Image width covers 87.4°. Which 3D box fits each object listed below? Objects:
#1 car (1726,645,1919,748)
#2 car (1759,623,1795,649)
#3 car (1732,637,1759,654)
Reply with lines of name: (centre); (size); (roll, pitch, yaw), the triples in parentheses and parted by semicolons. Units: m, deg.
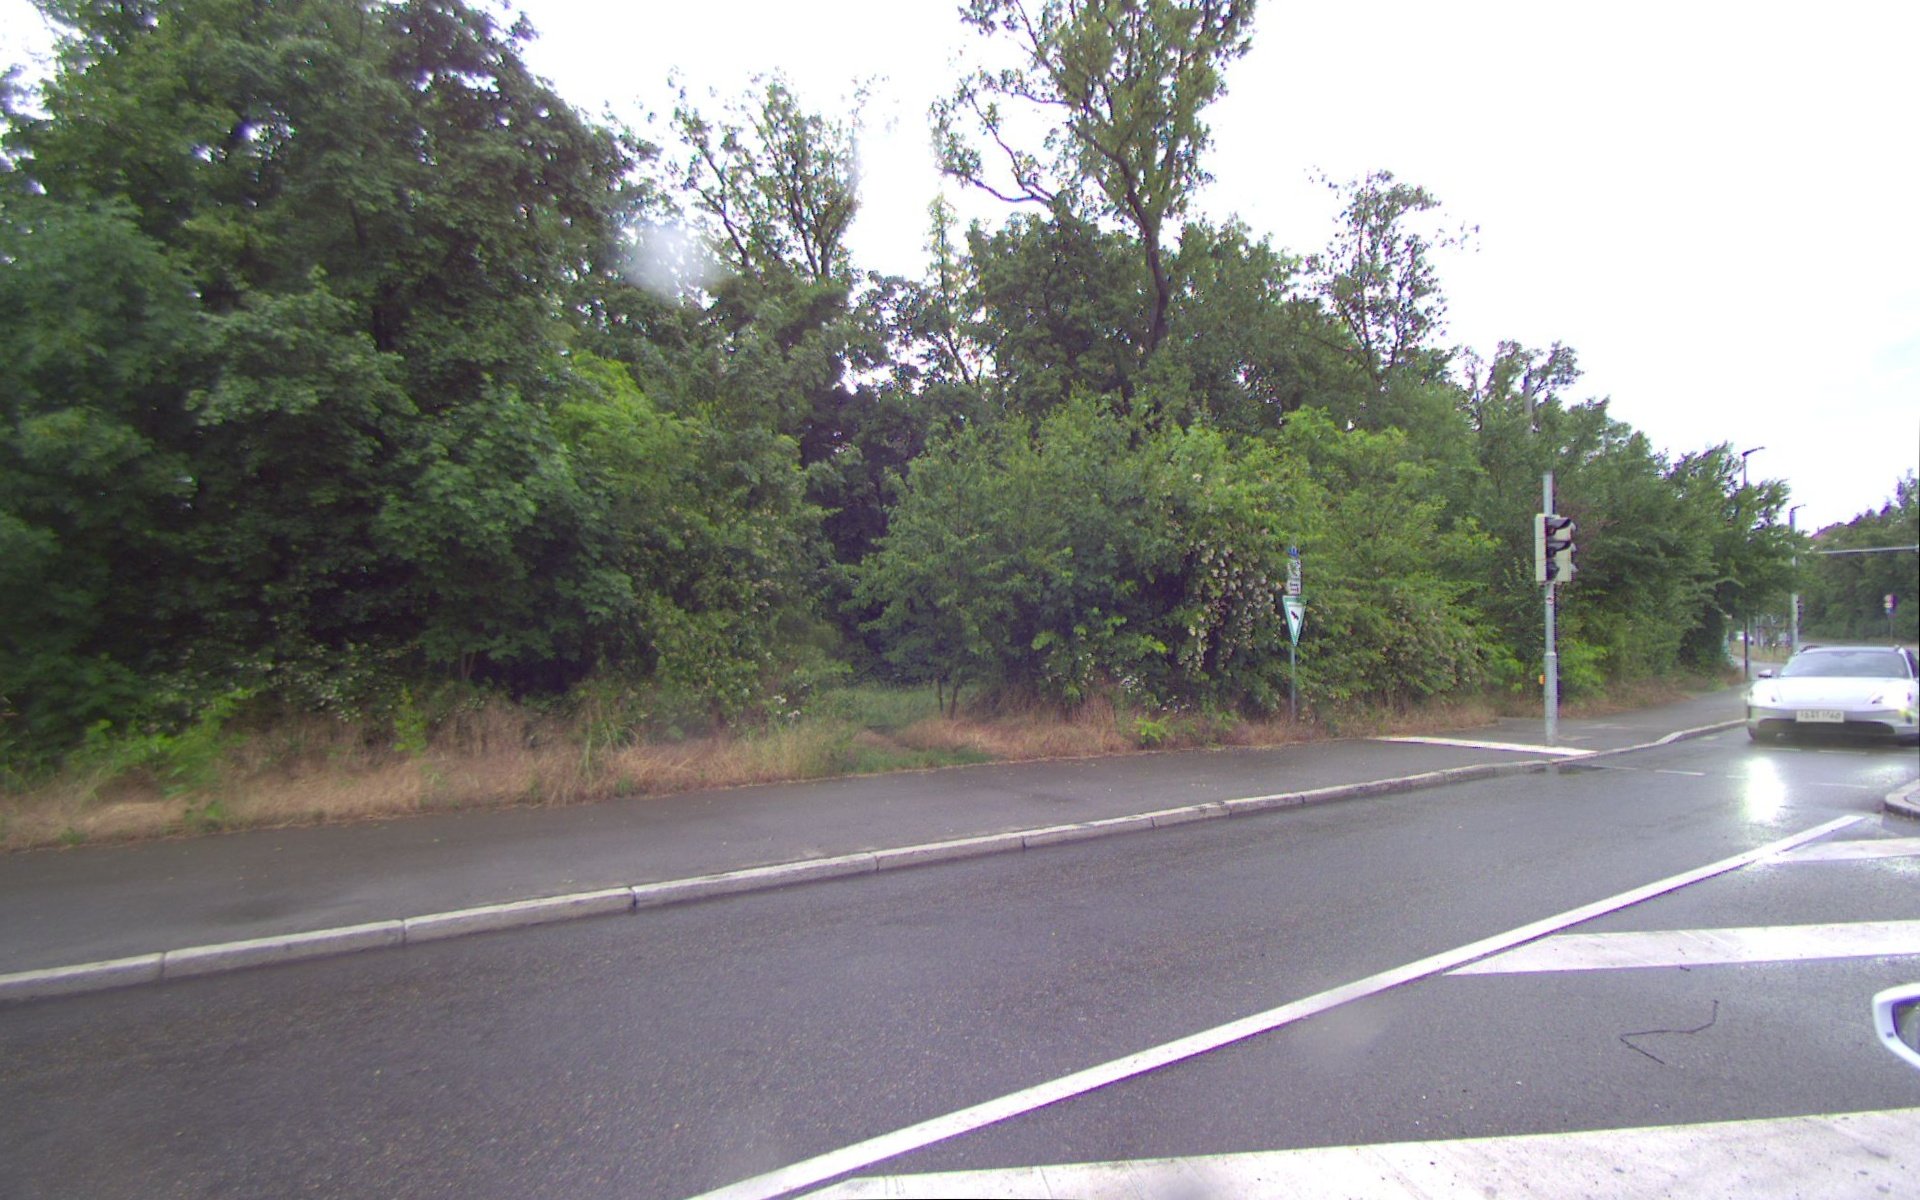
car: (13.641, 1.403, 15.499); (4.324, 1.328, 1.977); (1, -4, -40)
car: (67.502, 3.012, 83.059); (1.967, 2.040, 3.988); (1, -1, 34)
car: (79.733, 4.629, 101.944); (1.970, 1.606, 3.981); (1, -2, 40)
